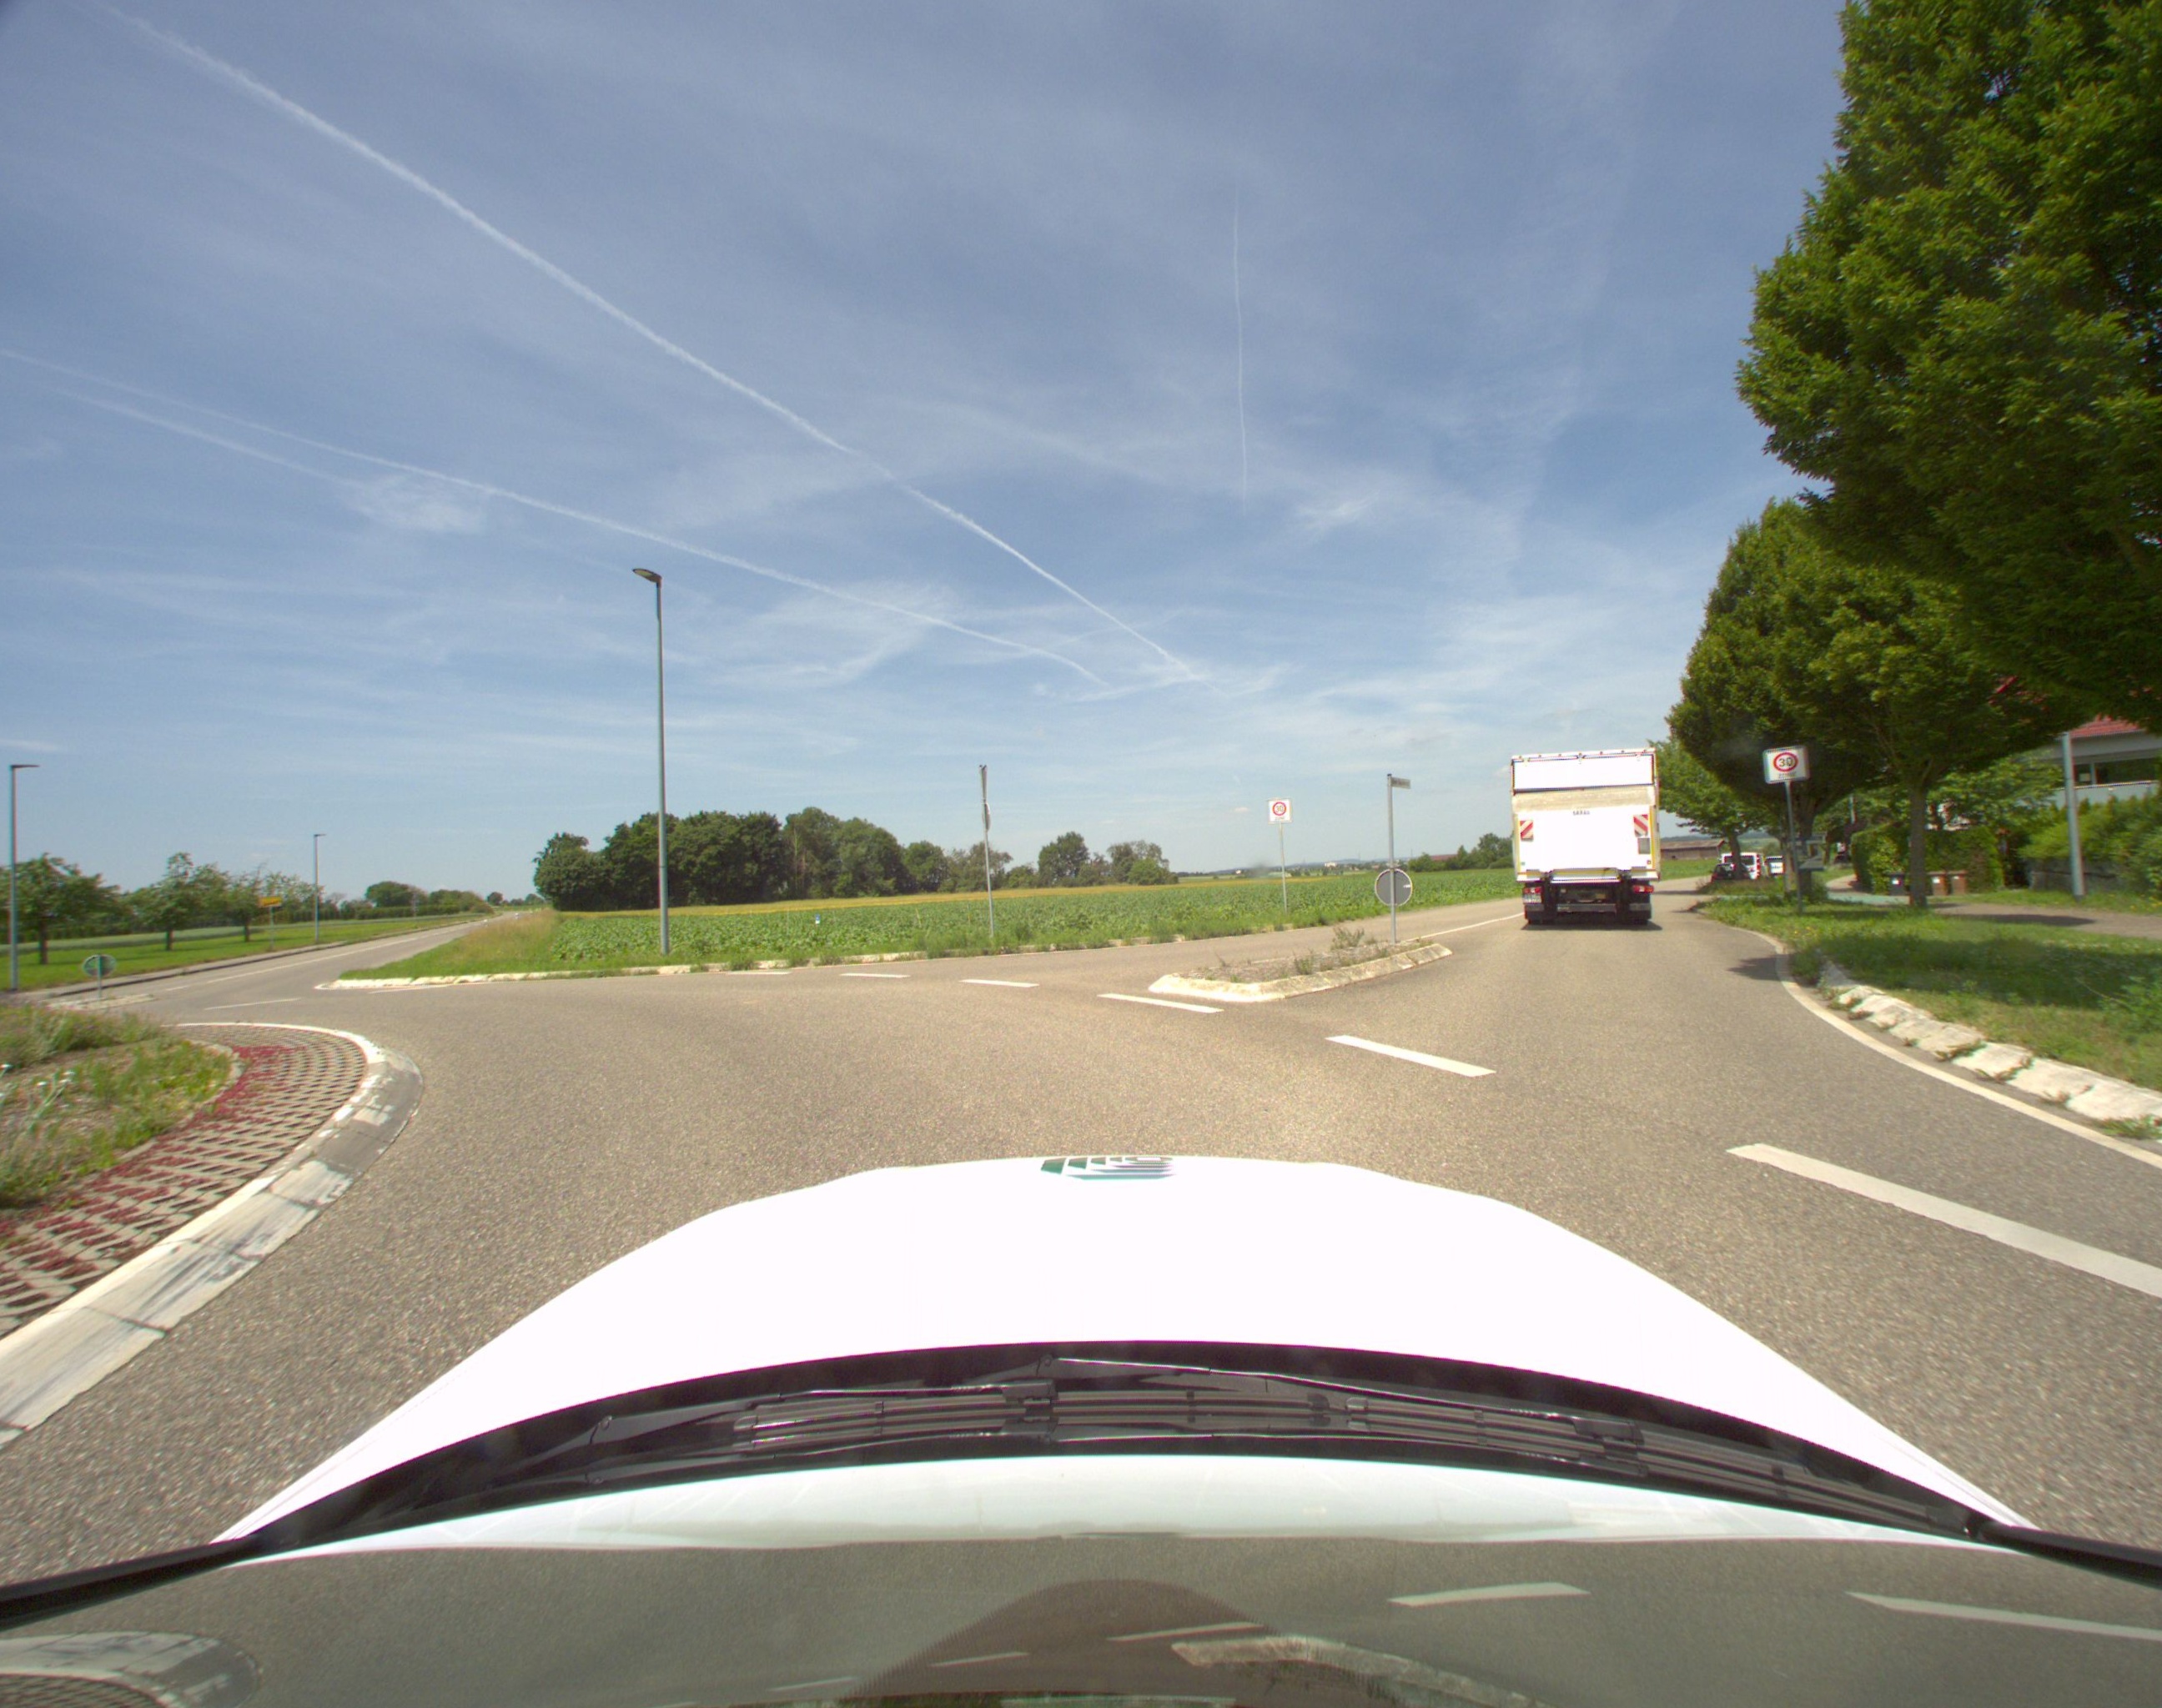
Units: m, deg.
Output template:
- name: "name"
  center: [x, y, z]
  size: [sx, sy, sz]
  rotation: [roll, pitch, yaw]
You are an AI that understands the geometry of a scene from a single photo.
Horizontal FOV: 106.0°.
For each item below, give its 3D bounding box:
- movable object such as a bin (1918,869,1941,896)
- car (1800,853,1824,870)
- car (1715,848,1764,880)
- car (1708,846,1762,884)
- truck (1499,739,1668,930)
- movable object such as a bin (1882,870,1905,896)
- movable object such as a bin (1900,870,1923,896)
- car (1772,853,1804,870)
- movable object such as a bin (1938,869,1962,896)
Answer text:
- name: "movable object such as a bin"
  center: [31.466, 1.067, 30.193]
  size: [0.500, 0.966, 0.437]
  rotation: [-2, -2, -28]
- name: "car"
  center: [60.376, 0.627, 67.238]
  size: [1.270, 1.361, 3.308]
  rotation: [-6, -4, 44]
- name: "car"
  center: [38.012, 0.591, 46.947]
  size: [1.974, 1.717, 4.025]
  rotation: [-5, -4, 41]
- name: "car"
  center: [34.173, 0.573, 42.510]
  size: [1.974, 1.794, 4.025]
  rotation: [-4, -3, 40]
- name: "truck"
  center: [12.446, -0.304, 20.393]
  size: [2.740, 3.671, 9.441]
  rotation: [-3, -2, 31]
- name: "movable object such as a bin"
  center: [30.988, 1.116, 31.061]
  size: [0.500, 0.966, 0.437]
  rotation: [-2, -2, -28]
- name: "movable object such as a bin"
  center: [31.232, 1.091, 30.617]
  size: [0.500, 0.966, 0.437]
  rotation: [-2, -2, -28]
- name: "car"
  center: [51.293, 0.533, 59.058]
  size: [3.225, 1.137, 1.349]
  rotation: [-1, -3, -43]
- name: "movable object such as a bin"
  center: [31.725, 1.040, 29.720]
  size: [0.500, 0.966, 0.437]
  rotation: [-2, -2, -28]
